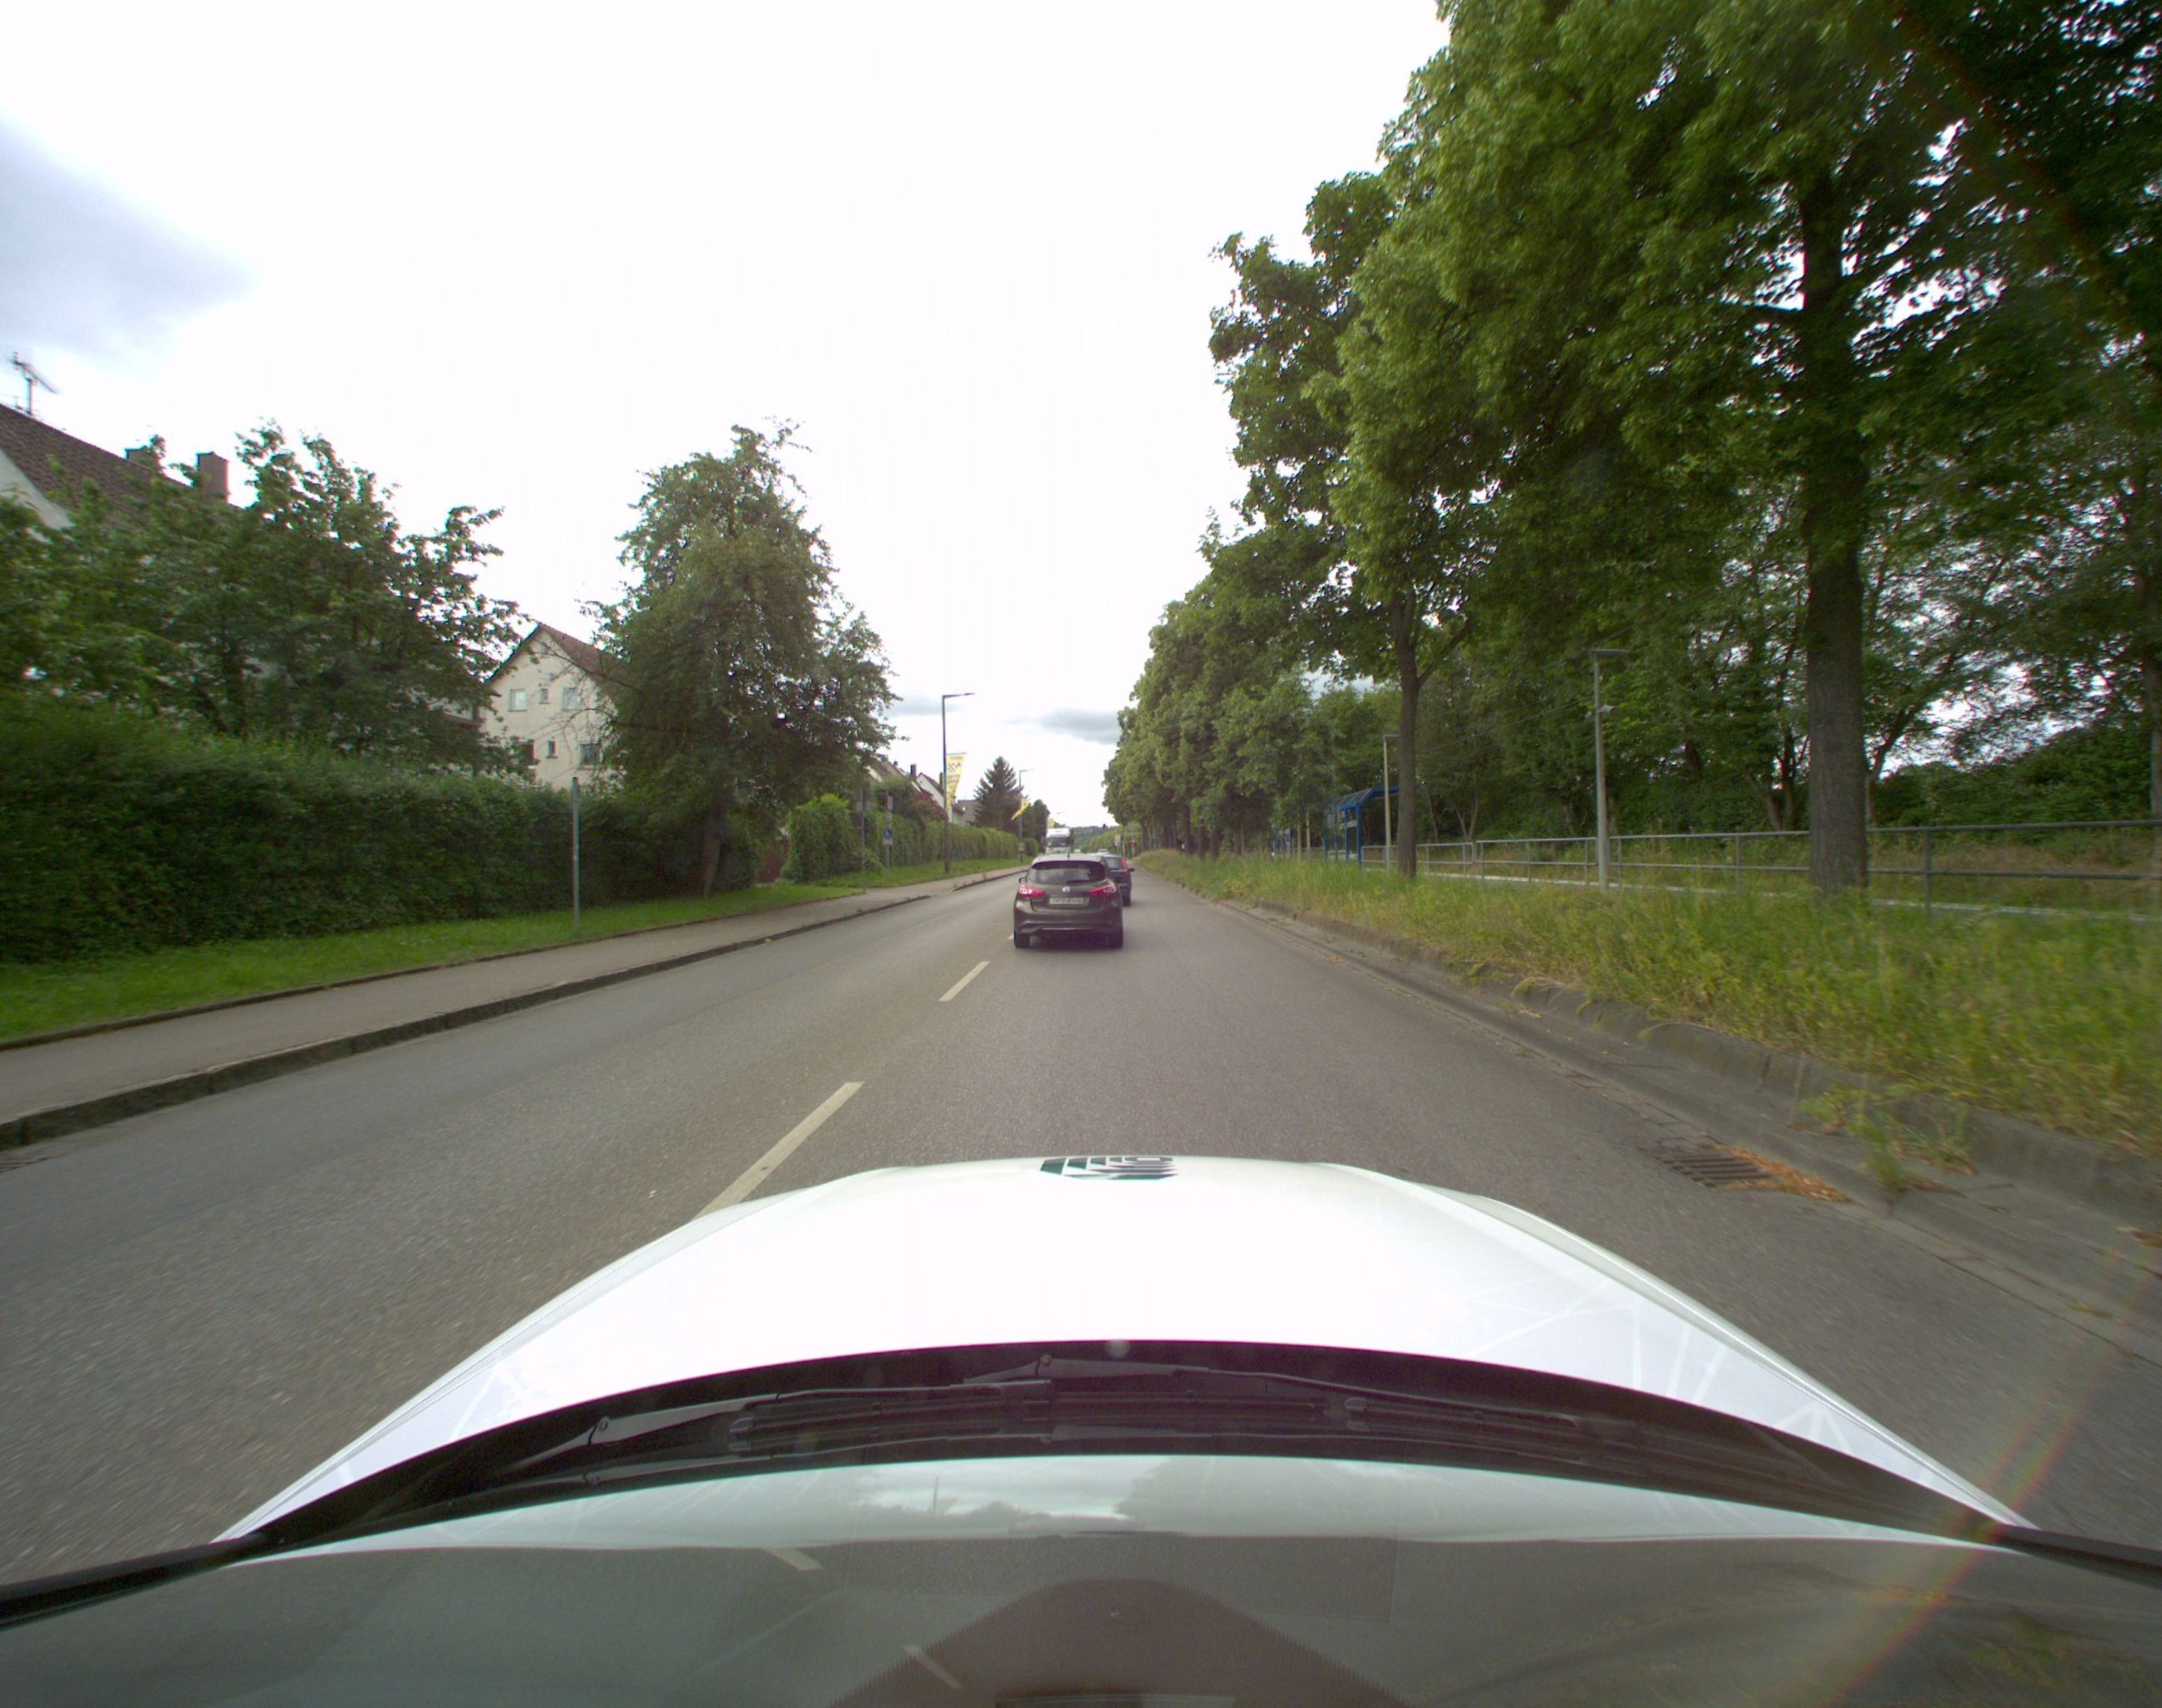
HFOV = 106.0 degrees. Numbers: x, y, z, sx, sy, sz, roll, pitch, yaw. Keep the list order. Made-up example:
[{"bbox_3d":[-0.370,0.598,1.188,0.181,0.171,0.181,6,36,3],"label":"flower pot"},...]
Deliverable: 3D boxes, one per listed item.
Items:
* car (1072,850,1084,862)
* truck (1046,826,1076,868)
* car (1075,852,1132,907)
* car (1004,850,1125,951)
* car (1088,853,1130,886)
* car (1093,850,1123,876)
[{"bbox_3d":[-0.443,0.326,136.163,1.901,1.932,4.909,-2,0,-1],"label":"car"},{"bbox_3d":[-2.013,-0.652,85.020,2.541,4.043,10.620,-3,0,1],"label":"truck"},{"bbox_3d":[0.689,0.700,24.266,1.533,1.478,3.765,-1,0,2],"label":"car"},{"bbox_3d":[-0.178,0.711,14.741,1.828,1.519,4.484,-1,0,2],"label":"car"},{"bbox_3d":[1.284,0.655,37.547,1.785,1.397,4.002,-1,0,2],"label":"car"},{"bbox_3d":[1.727,0.533,51.536,1.785,1.538,4.002,-1,0,2],"label":"car"}]
